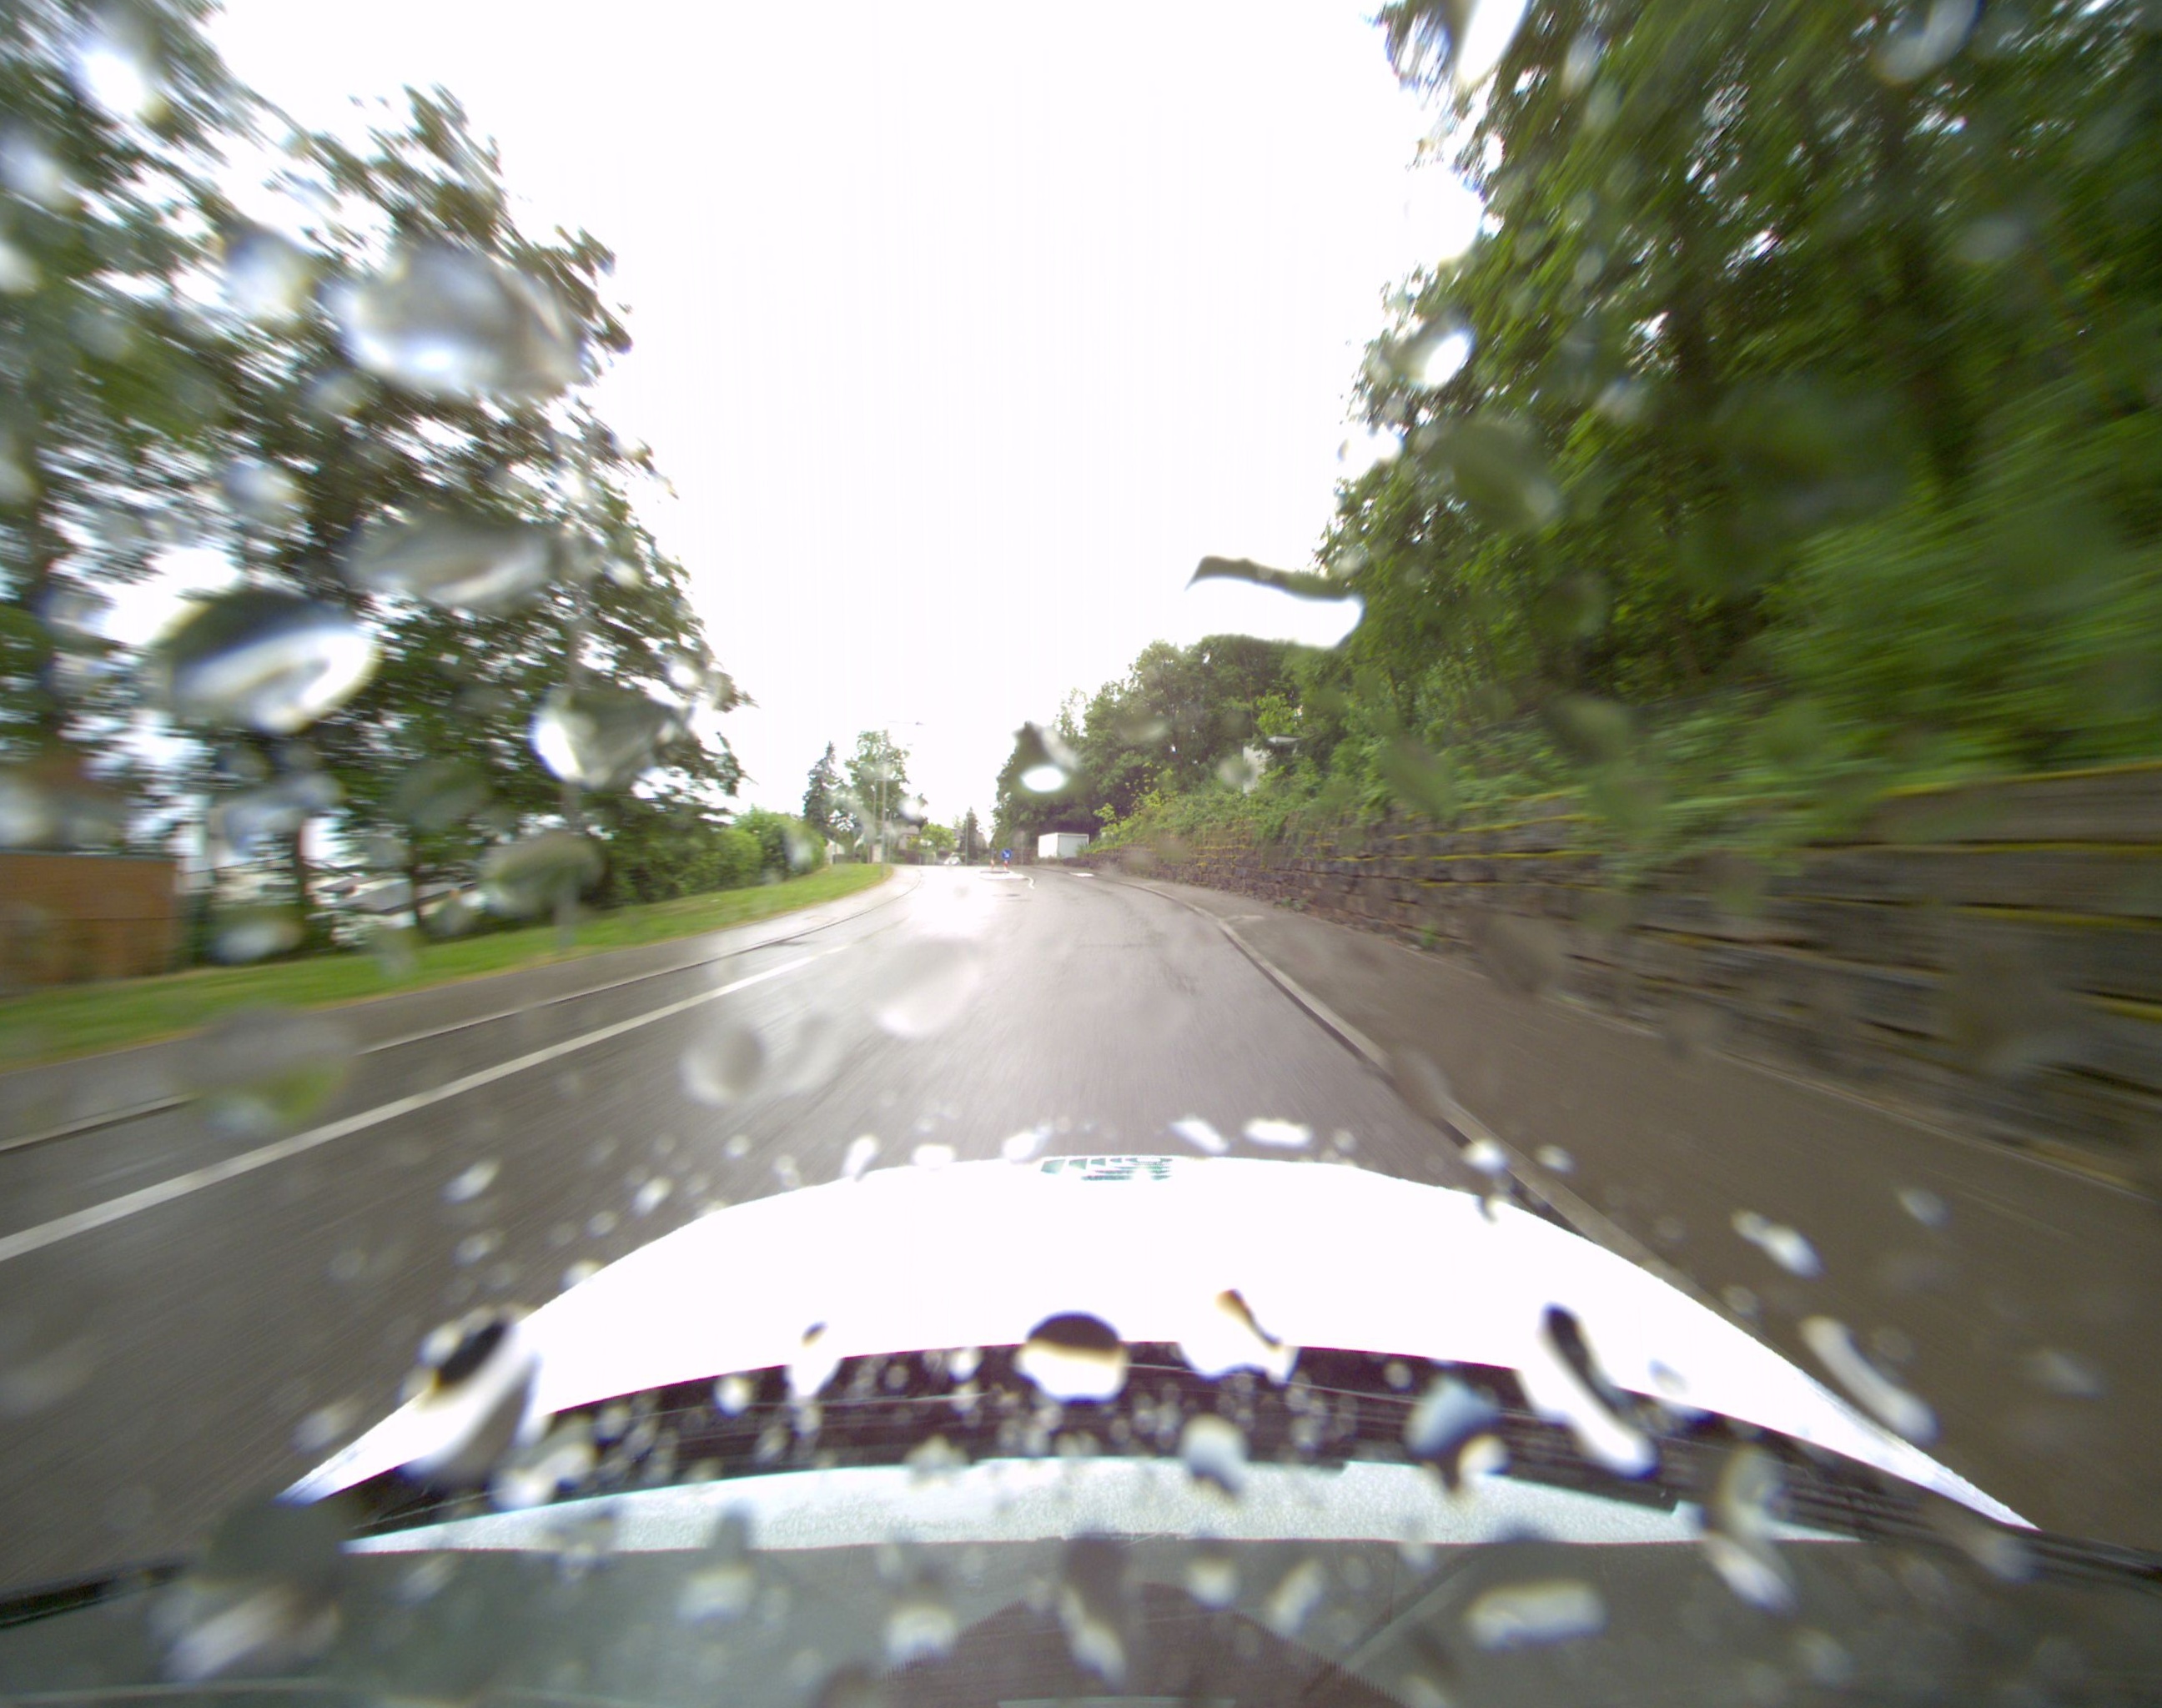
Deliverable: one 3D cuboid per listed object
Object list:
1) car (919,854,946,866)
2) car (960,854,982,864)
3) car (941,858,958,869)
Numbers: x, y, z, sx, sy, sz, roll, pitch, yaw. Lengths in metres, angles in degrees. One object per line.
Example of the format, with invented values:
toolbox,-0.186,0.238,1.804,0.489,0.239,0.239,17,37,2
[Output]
car,-23.238,0.991,127.699,3.949,1.632,2.026,2,-2,40
car,-18.486,0.844,136.778,1.949,1.389,3.956,5,-3,-36
car,-18.761,1.317,116.361,1.826,1.520,4.625,0,0,-1
